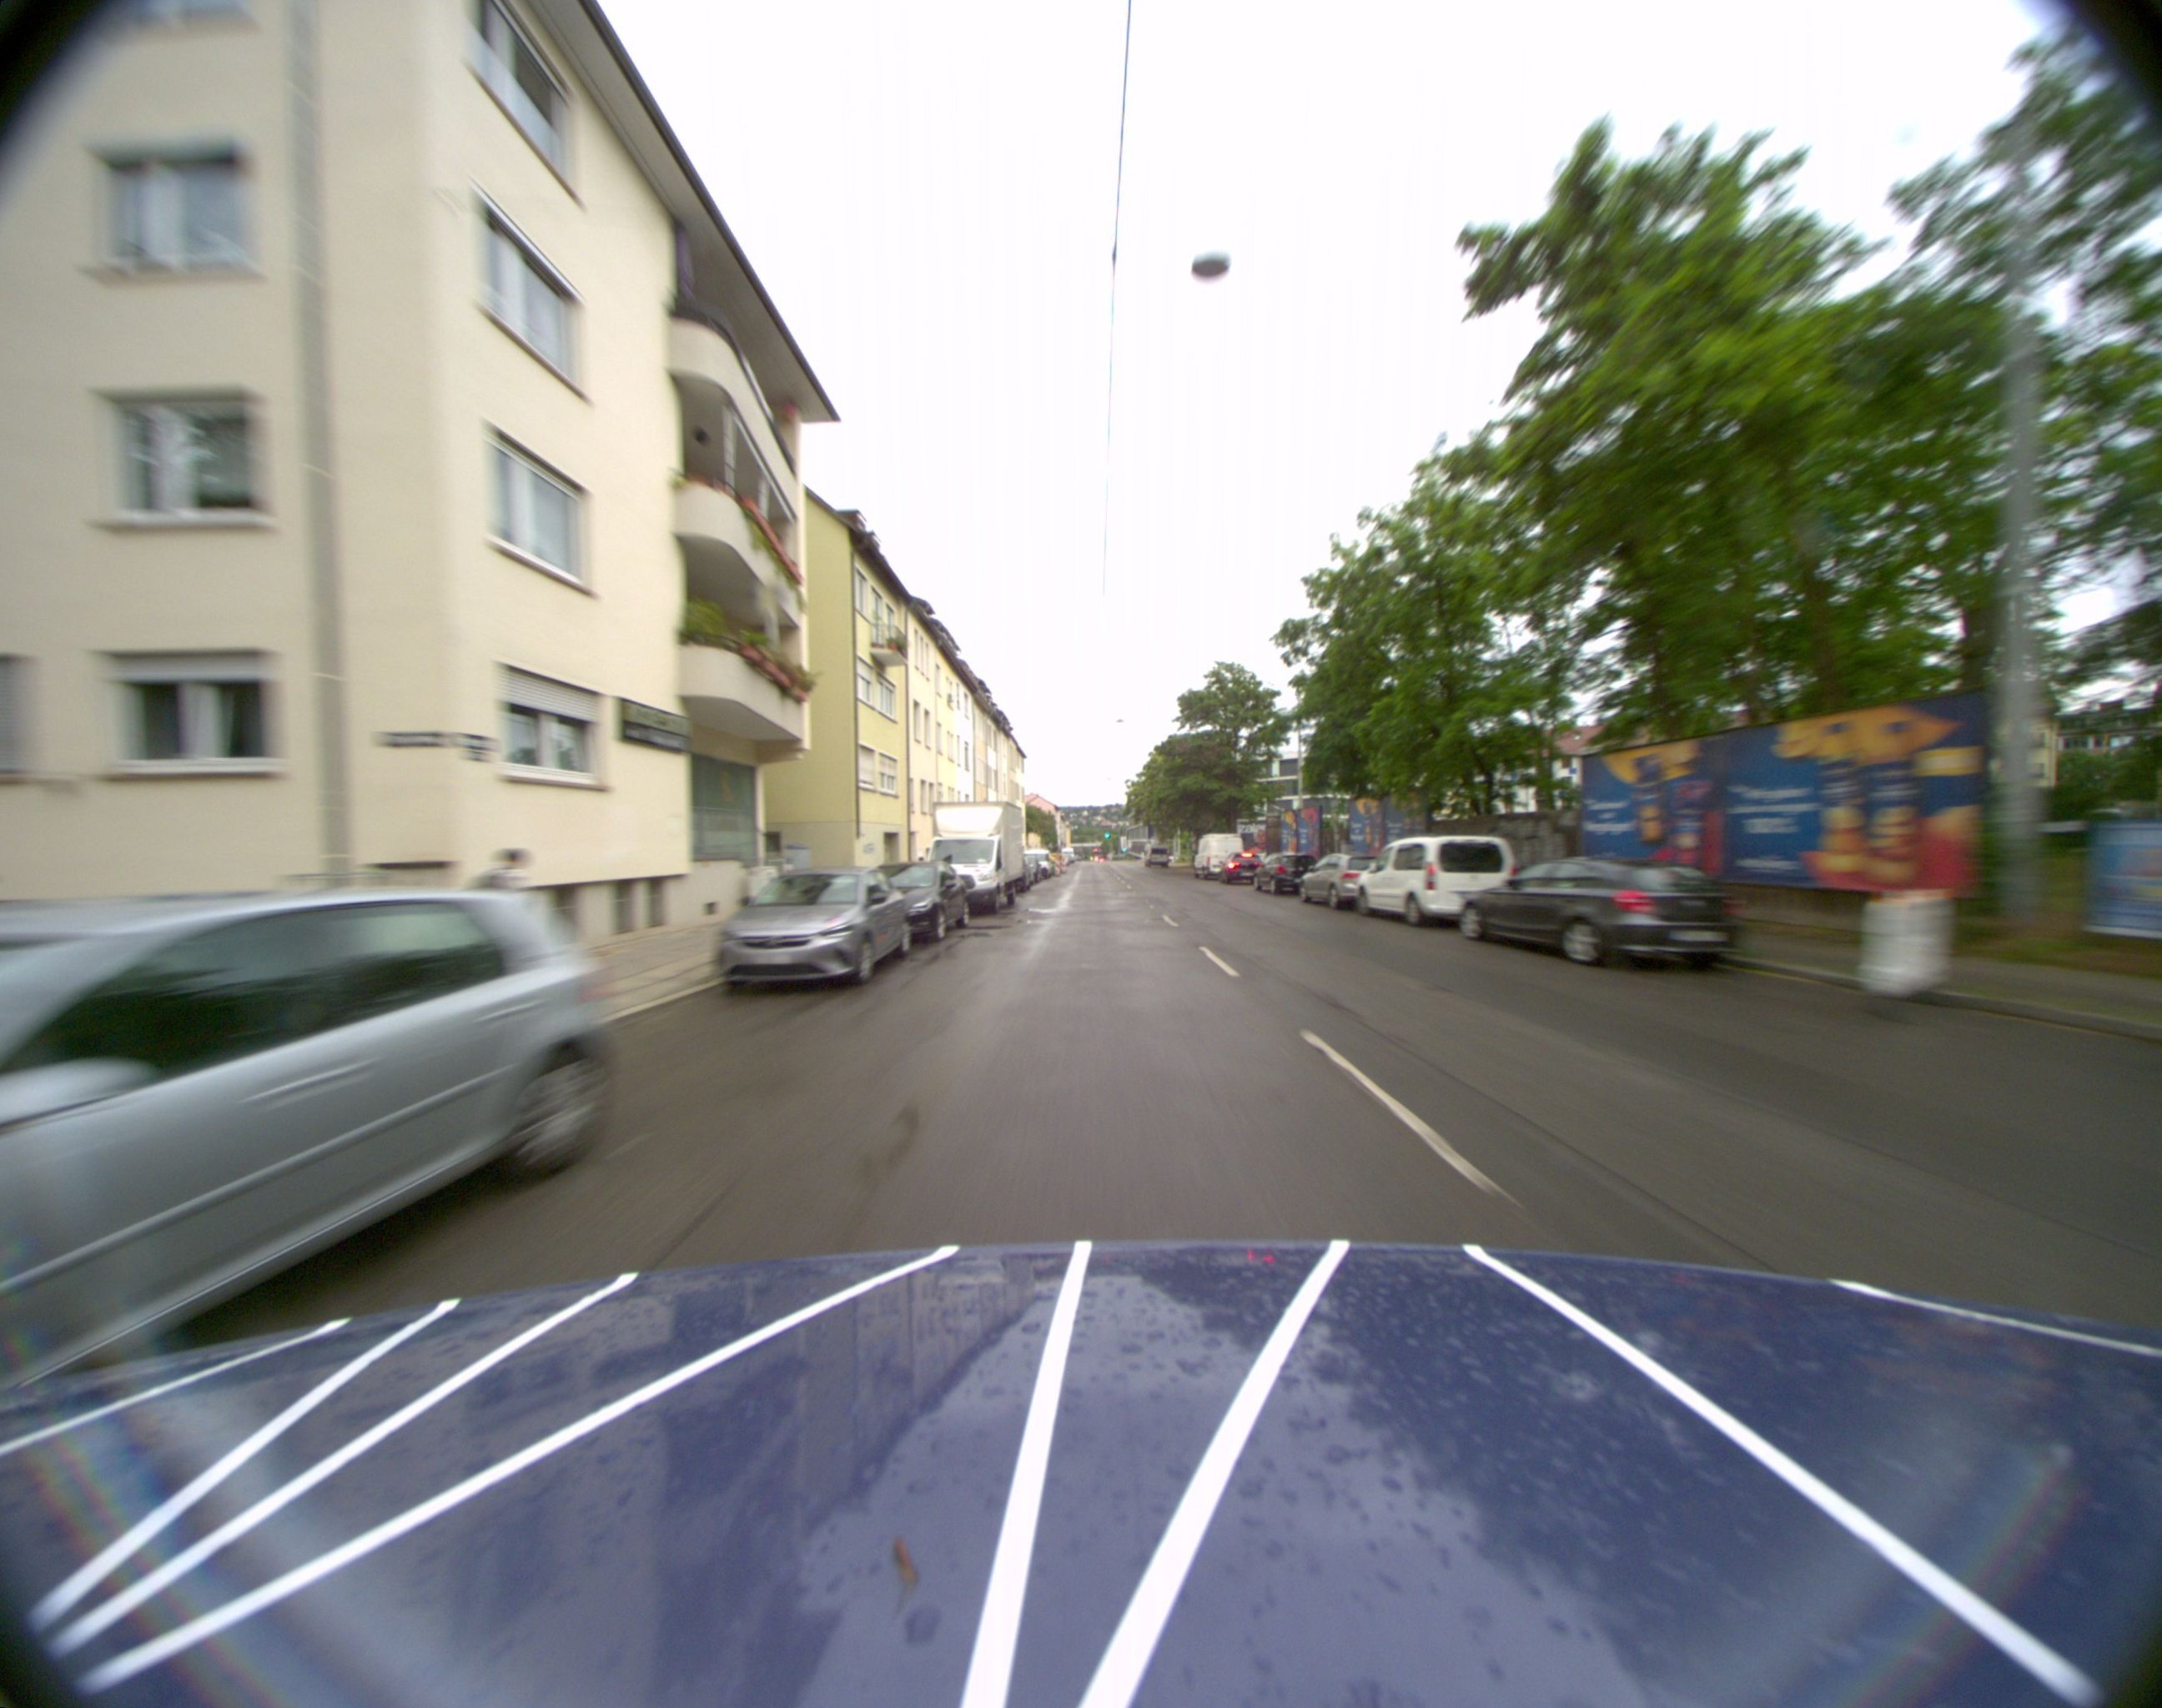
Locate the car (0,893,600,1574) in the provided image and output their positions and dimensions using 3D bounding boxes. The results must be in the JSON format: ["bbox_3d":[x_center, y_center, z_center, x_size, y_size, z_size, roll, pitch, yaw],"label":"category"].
[{"bbox_3d":[-3.453,1.001,2.108,1.667,1.493,3.920,-1,1,1],"label":"car"}]

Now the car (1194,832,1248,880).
[{"bbox_3d":[7.709,0.084,42.434,2.016,2.473,5.983,0,0,2],"label":"car"}]

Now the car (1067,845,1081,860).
[{"bbox_3d":[-1.213,-0.283,131.938,2.211,2.449,6.080,-2,0,1],"label":"car"}]

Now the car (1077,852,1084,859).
[{"bbox_3d":[-0.187,0.290,187.610,1.630,1.740,3.778,-1,0,1],"label":"car"}]

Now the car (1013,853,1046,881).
[{"bbox_3d":[-2.881,0.721,43.423,1.581,1.462,3.501,-1,1,1],"label":"car"}]

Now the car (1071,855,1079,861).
[{"bbox_3d":[-1.474,0.850,181.080,1.630,1.402,3.778,-1,0,1],"label":"car"}]

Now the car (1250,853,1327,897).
[{"bbox_3d":[7.364,0.707,27.288,1.686,1.390,3.909,0,1,0],"label":"car"}]

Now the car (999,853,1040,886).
[{"bbox_3d":[-3.081,0.742,38.541,1.667,1.491,4.097,-1,1,1],"label":"car"}]

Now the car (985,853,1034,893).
[{"bbox_3d":[-2.997,0.774,32.565,1.667,1.564,4.097,-1,1,1],"label":"car"}]

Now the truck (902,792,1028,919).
[{"bbox_3d":[-3.170,-0.018,22.665,2.475,3.154,7.035,-1,1,1],"label":"truck"}]

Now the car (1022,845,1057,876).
[{"bbox_3d":[-2.647,0.374,49.178,1.822,1.913,4.239,-1,1,3],"label":"car"}]

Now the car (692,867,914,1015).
[{"bbox_3d":[-3.470,0.993,10.299,1.668,1.413,3.919,-1,2,-2],"label":"car"}]

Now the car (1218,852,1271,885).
[{"bbox_3d":[7.564,0.625,35.508,1.809,1.407,4.384,-1,1,4],"label":"car"}]

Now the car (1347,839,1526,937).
[{"bbox_3d":[7.246,0.584,16.019,1.728,1.790,4.343,0,1,0],"label":"car"}]

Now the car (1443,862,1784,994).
[{"bbox_3d":[7.116,0.869,10.847,1.728,1.368,4.342,0,1,-2],"label":"car"}]

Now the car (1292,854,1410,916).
[{"bbox_3d":[7.226,0.761,20.805,1.686,1.454,4.276,0,1,0],"label":"car"}]

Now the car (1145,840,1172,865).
[{"bbox_3d":[8.237,-0.180,81.481,2.236,2.564,6.536,1,0,0],"label":"car"}]

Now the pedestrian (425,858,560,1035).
[{"bbox_3d":[-5.726,0.863,7.428,0.665,1.594,0.744,3,1,5],"label":"pedestrian"}]

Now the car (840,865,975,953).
[{"bbox_3d":[-3.243,0.966,14.988,1.667,1.412,4.042,-1,0,1],"label":"car"}]
